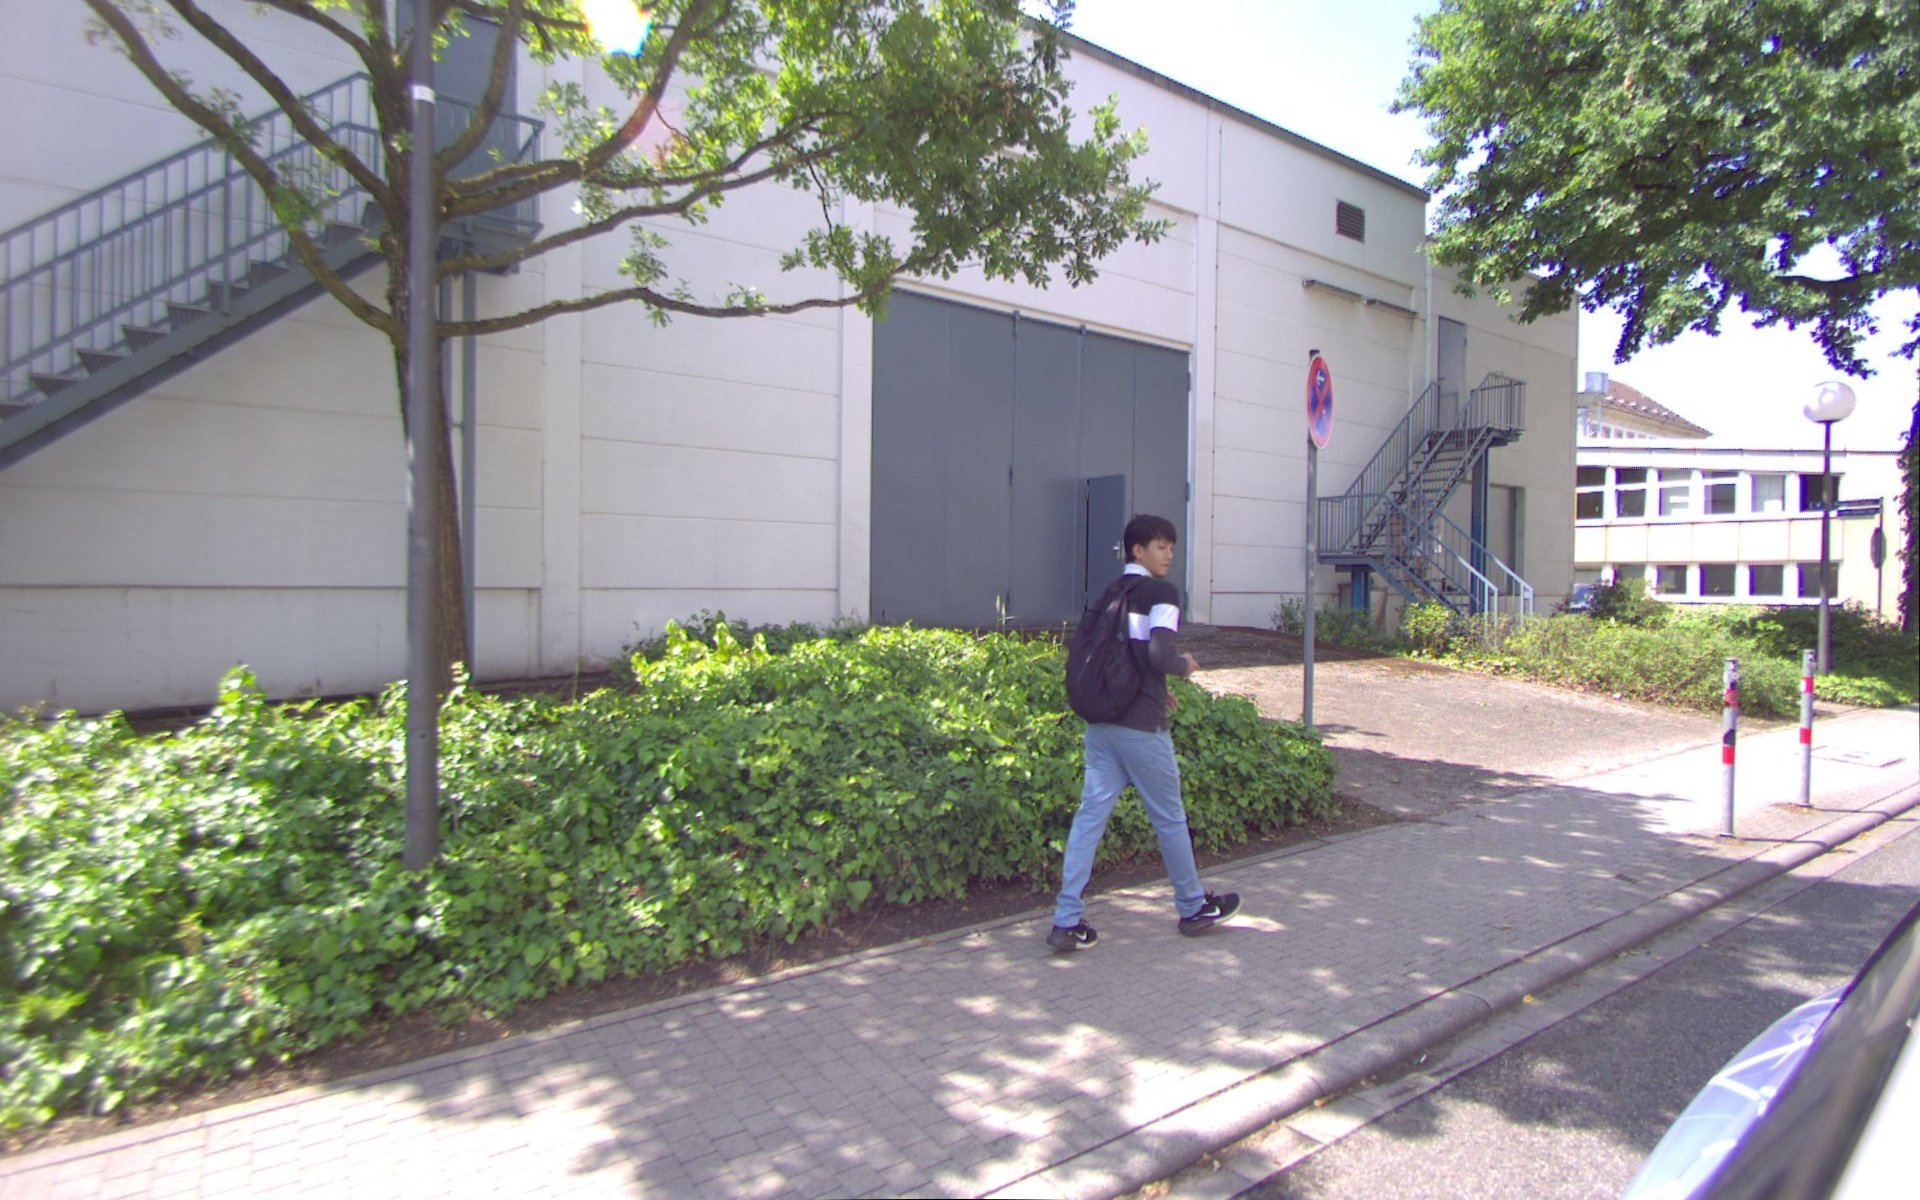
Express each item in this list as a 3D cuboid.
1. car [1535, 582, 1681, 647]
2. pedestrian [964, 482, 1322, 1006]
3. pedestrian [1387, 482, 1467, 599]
[{"bbox_3d":[16.337,0.325,25.462,4.102,1.495,1.672,0,1,-35],"label":"car"},{"bbox_3d":[0.730,0.456,3.952,1.234,1.695,0.741,0,1,-39],"label":"pedestrian"},{"bbox_3d":[8.465,-1.051,18.355,0.931,2.039,0.931,0,1,-32],"label":"pedestrian"}]
